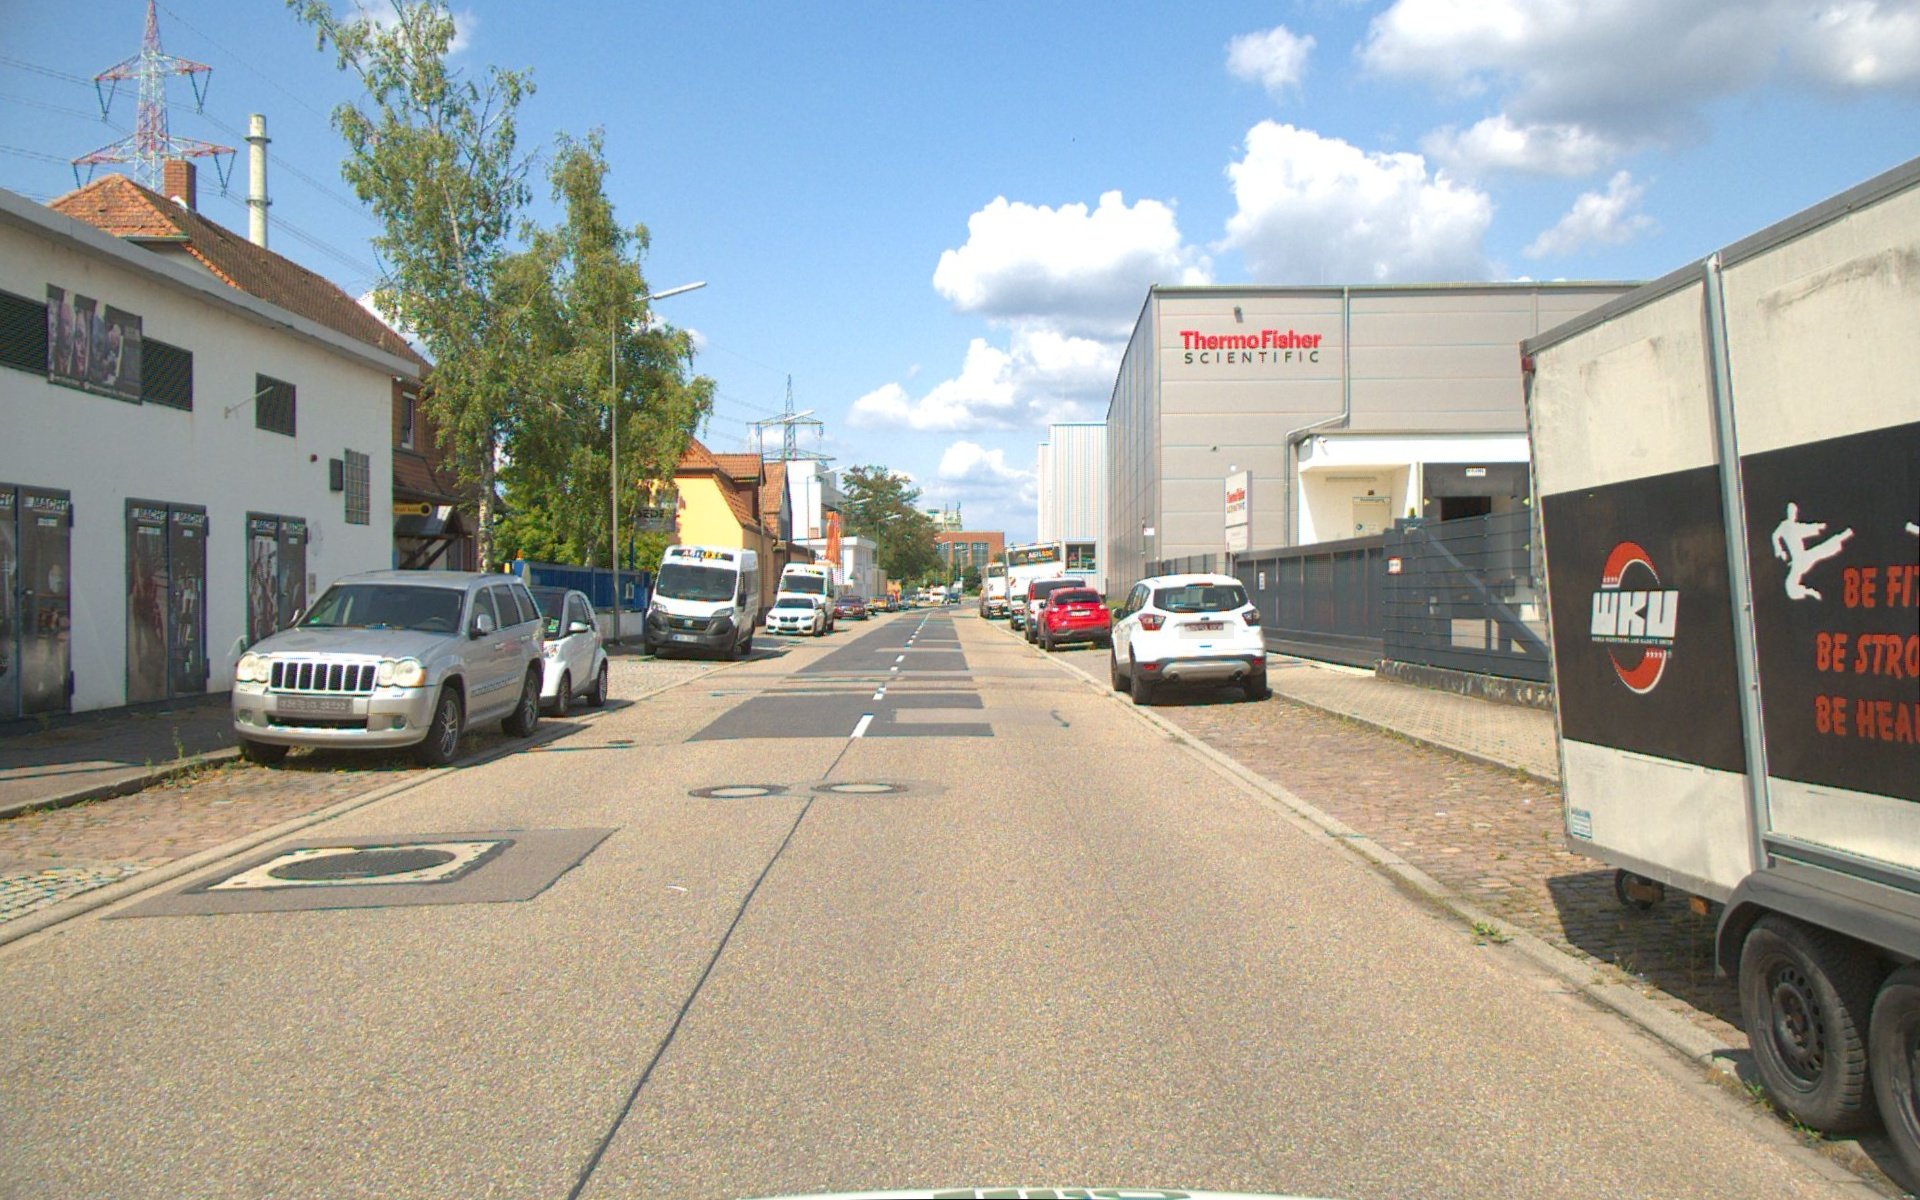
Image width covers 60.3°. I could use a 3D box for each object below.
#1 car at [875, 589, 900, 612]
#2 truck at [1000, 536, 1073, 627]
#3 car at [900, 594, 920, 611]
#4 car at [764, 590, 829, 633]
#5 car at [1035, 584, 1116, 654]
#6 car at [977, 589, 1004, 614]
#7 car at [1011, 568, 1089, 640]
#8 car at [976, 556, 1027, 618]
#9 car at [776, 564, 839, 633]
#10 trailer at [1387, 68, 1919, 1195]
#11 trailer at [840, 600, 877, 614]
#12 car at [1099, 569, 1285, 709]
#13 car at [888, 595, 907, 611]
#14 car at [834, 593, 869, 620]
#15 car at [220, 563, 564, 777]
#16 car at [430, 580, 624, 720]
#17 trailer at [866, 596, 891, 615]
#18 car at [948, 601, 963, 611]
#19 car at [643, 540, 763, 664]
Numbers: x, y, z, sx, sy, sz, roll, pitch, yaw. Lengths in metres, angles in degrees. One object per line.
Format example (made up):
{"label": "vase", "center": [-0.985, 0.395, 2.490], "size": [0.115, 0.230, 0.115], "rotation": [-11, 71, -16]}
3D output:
{"label": "car", "center": [-6.693, 0.035, 153.301], "size": [1.952, 2.049, 4.001], "rotation": [1, 0, 2]}
{"label": "truck", "center": [3.050, -0.714, 67.927], "size": [2.409, 3.350, 6.817], "rotation": [-5, 0, 0]}
{"label": "car", "center": [-5.297, 0.267, 176.457], "size": [1.882, 1.825, 4.001], "rotation": [1, 0, 2]}
{"label": "car", "center": [-5.771, 0.396, 58.837], "size": [1.759, 1.422, 4.502], "rotation": [1, 0, 1]}
{"label": "car", "center": [2.982, 0.492, 43.489], "size": [1.670, 1.652, 4.091], "rotation": [-3, 0, -1]}
{"label": "car", "center": [2.033, 0.103, 111.394], "size": [1.732, 1.640, 3.873], "rotation": [0, 0, 1]}
{"label": "car", "center": [2.688, 0.106, 50.411], "size": [2.012, 1.936, 5.147], "rotation": [-4, 0, 1]}
{"label": "car", "center": [2.449, -0.742, 99.154], "size": [2.341, 3.421, 6.640], "rotation": [-3, 0, -3]}
{"label": "car", "center": [-6.021, -0.045, 66.095], "size": [1.986, 2.606, 6.837], "rotation": [1, 0, -2]}
{"label": "trailer", "center": [3.415, 0.061, 5.439], "size": [2.160, 2.784, 6.220], "rotation": [-3, 0, -1]}
{"label": "trailer", "center": [-7.108, 0.505, 116.444], "size": [2.314, 0.908, 5.568], "rotation": [2, 0, -1]}
{"label": "car", "center": [3.215, 0.485, 23.874], "size": [1.896, 1.723, 4.679], "rotation": [-3, 0, -1]}
{"label": "car", "center": [-6.002, 0.279, 158.562], "size": [1.634, 1.473, 3.453], "rotation": [2, 0, 0]}
{"label": "car", "center": [-6.394, 0.375, 97.557], "size": [1.726, 1.473, 4.740], "rotation": [2, 0, 0]}
{"label": "car", "center": [-5.378, 0.589, 16.385], "size": [1.754, 1.749, 4.750], "rotation": [2, 0, -1]}
{"label": "car", "center": [-5.498, 0.588, 21.337], "size": [1.576, 1.601, 3.010], "rotation": [3, 0, 1]}
{"label": "trailer", "center": [-6.755, 0.427, 137.683], "size": [1.953, 1.584, 4.253], "rotation": [0, 0, -1]}
{"label": "car", "center": [-0.606, 0.793, 213.539], "size": [1.879, 1.307, 3.615], "rotation": [-1, 0, 1]}
{"label": "car", "center": [-5.948, 0.058, 39.083], "size": [1.989, 2.602, 6.654], "rotation": [2, 0, -2]}
